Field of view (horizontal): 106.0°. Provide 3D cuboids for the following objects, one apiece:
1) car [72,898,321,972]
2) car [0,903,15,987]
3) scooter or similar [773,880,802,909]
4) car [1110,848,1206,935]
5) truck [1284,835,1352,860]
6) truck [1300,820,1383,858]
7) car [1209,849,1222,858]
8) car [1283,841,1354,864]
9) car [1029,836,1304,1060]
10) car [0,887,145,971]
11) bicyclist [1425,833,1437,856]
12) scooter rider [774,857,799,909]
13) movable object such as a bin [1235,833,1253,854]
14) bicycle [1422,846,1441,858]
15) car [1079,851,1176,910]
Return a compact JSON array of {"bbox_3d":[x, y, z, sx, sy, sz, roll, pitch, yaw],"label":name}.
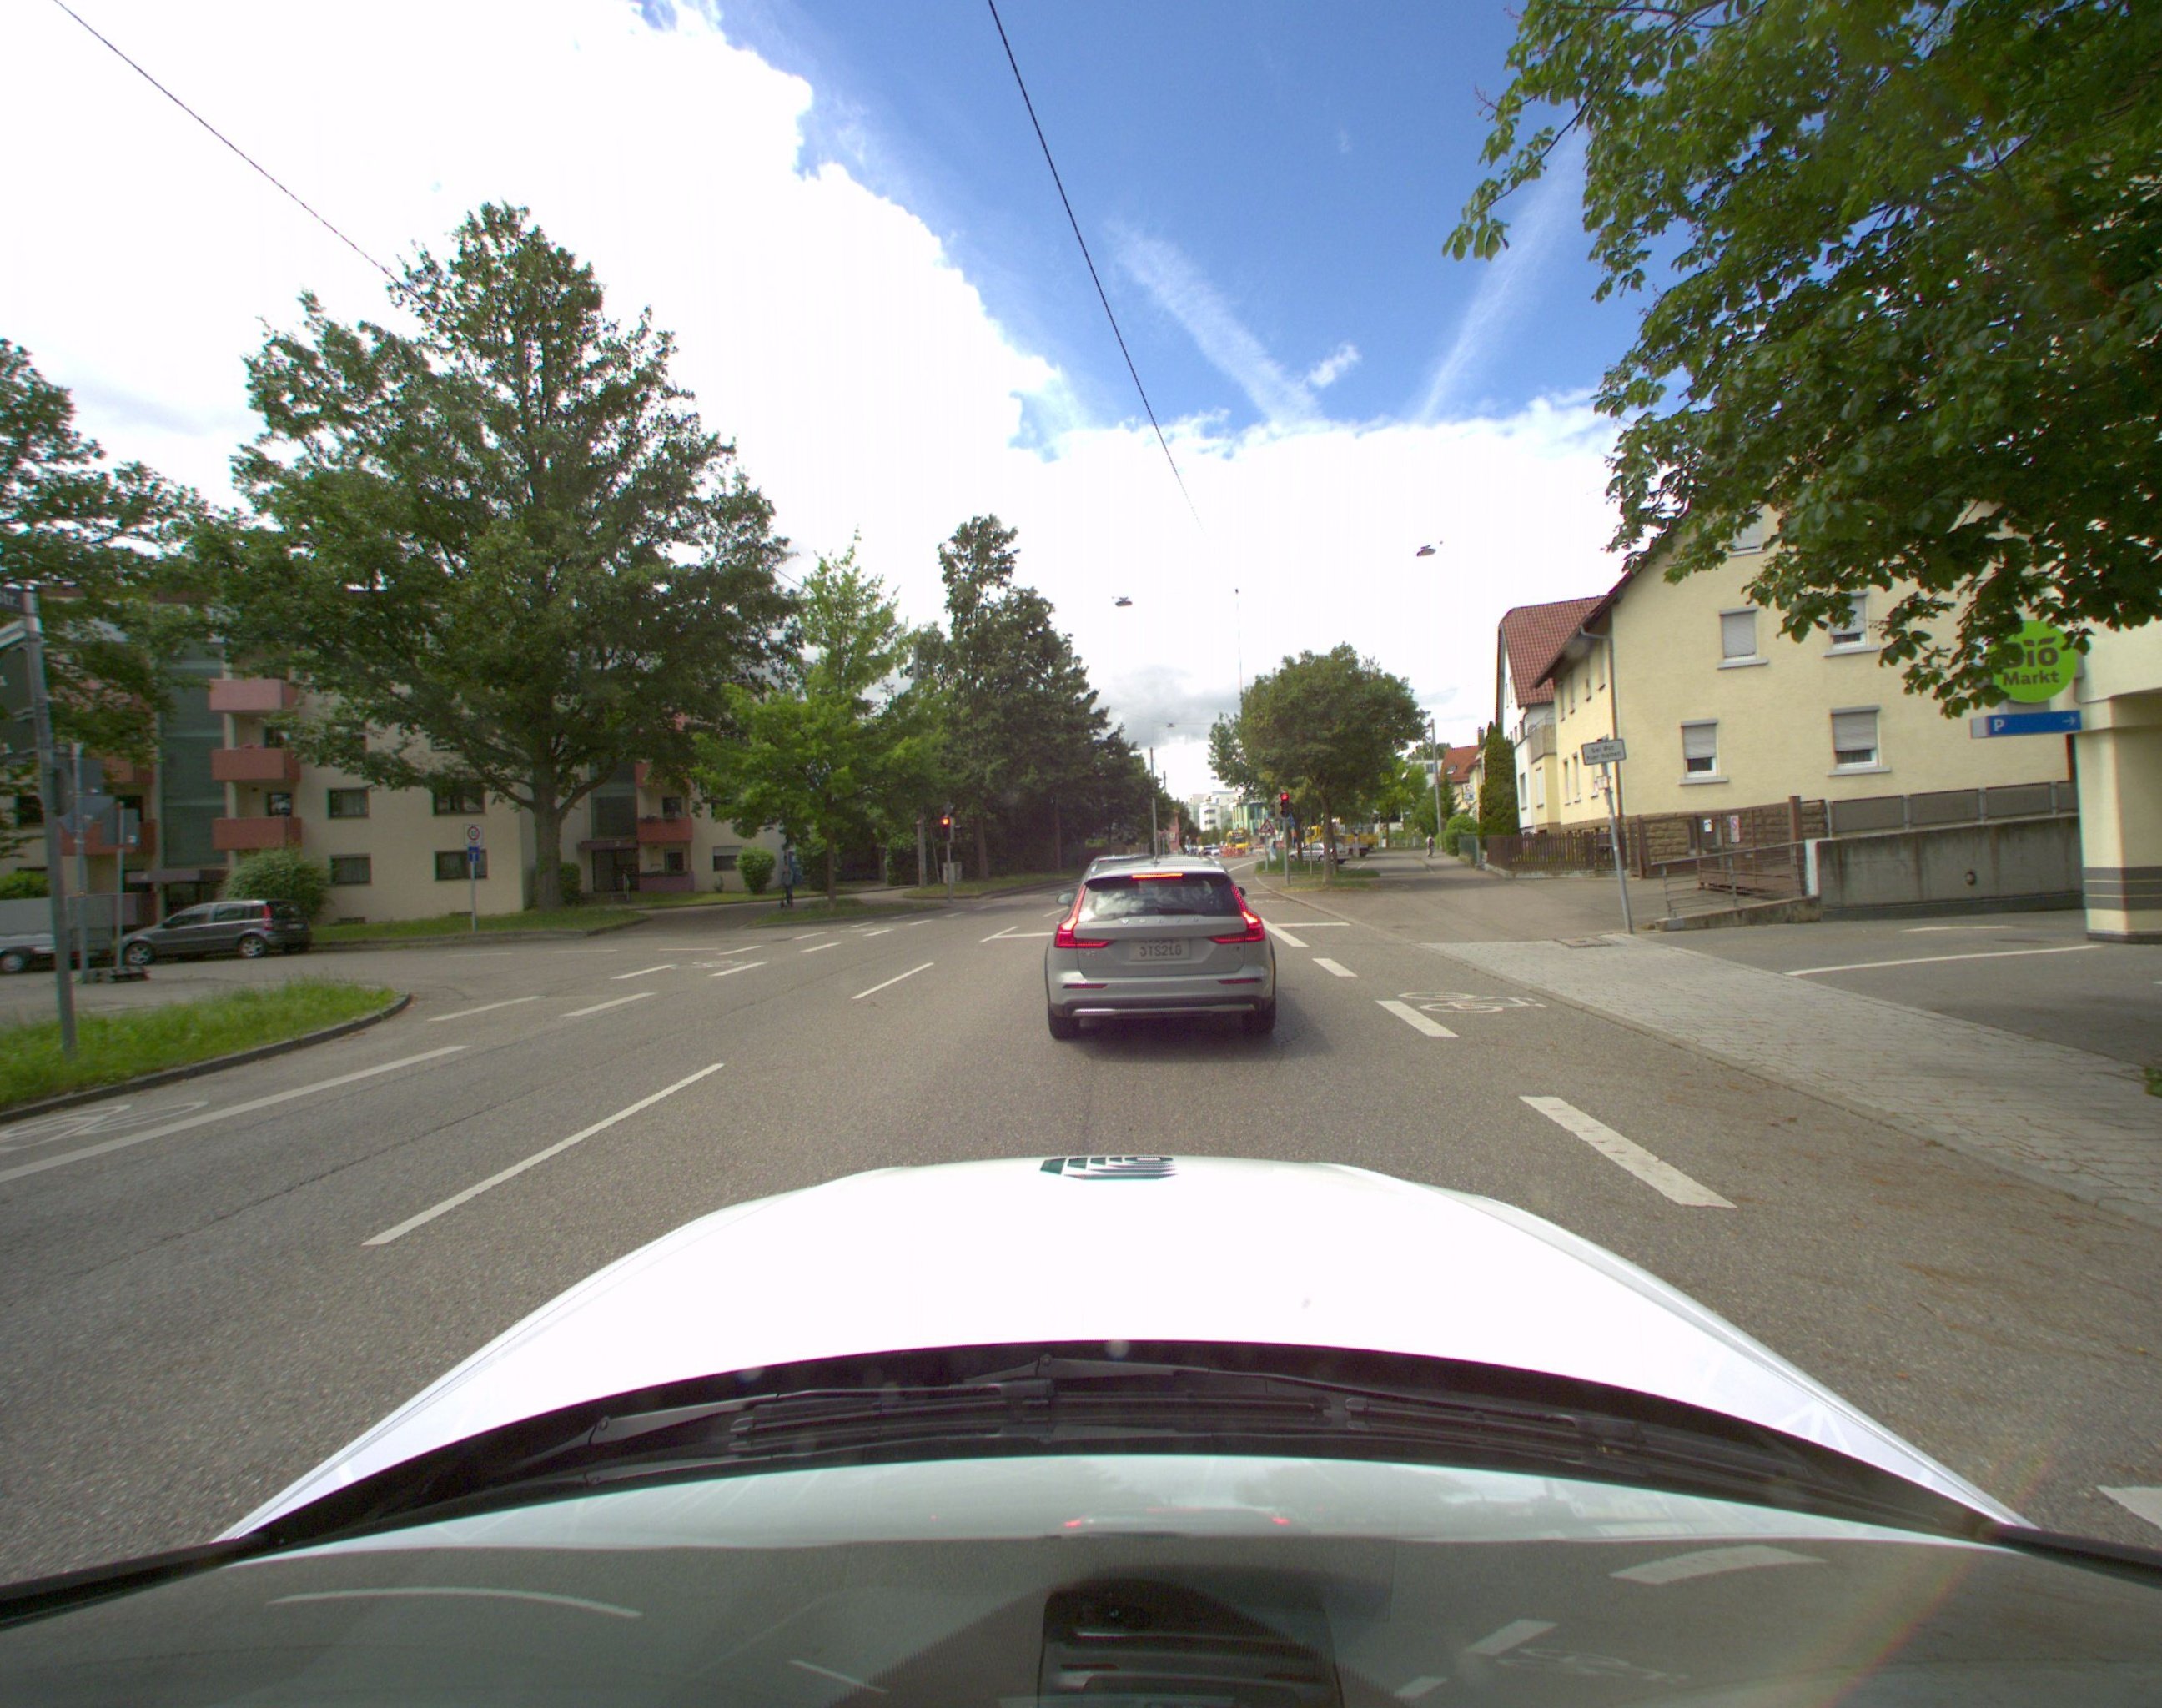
[{"bbox_3d":[-22.693,2.037,21.089,3.995,1.452,1.687,-3,0,-16],"label":"car"},{"bbox_3d":[-19.935,1.521,12.519,4.141,1.398,1.731,0,-1,-11],"label":"car"},{"bbox_3d":[-11.532,1.581,32.010,0.754,1.083,0.945,0,-1,1],"label":"scooter or similar"},{"bbox_3d":[1.501,0.666,15.996,1.653,1.508,3.707,0,-1,5],"label":"car"},{"bbox_3d":[20.017,-0.547,69.104,2.007,2.014,5.620,0,-1,-32],"label":"truck"},{"bbox_3d":[22.475,-1.222,70.681,2.780,3.008,6.639,0,-1,-32],"label":"truck"},{"bbox_3d":[21.648,-0.119,131.218,1.816,1.330,4.012,-1,-2,12],"label":"car"},{"bbox_3d":[15.831,-0.083,54.460,1.773,1.451,4.644,-2,0,-30],"label":"car"},{"bbox_3d":[0.661,0.692,7.826,1.921,1.540,4.001,-2,-1,1],"label":"car"},{"bbox_3d":[-27.008,1.967,20.583,3.989,1.844,1.839,-5,0,-11],"label":"car"},{"bbox_3d":[24.794,-0.674,57.652,0.587,1.559,0.567,0,-1,1],"label":"bicyclist"},{"bbox_3d":[-11.556,1.117,31.979,0.674,2.014,0.794,0,-1,1],"label":"scooter rider"},{"bbox_3d":[21.870,-1.357,109.217,2.020,2.642,5.962,-3,0,14],"label":"movable object such as a bin"},{"bbox_3d":[24.797,-0.143,57.632,0.592,0.812,1.754,0,0,1],"label":"bicycle"},{"bbox_3d":[1.432,0.717,23.456,2.088,1.510,4.014,-2,-1,13],"label":"car"}]
